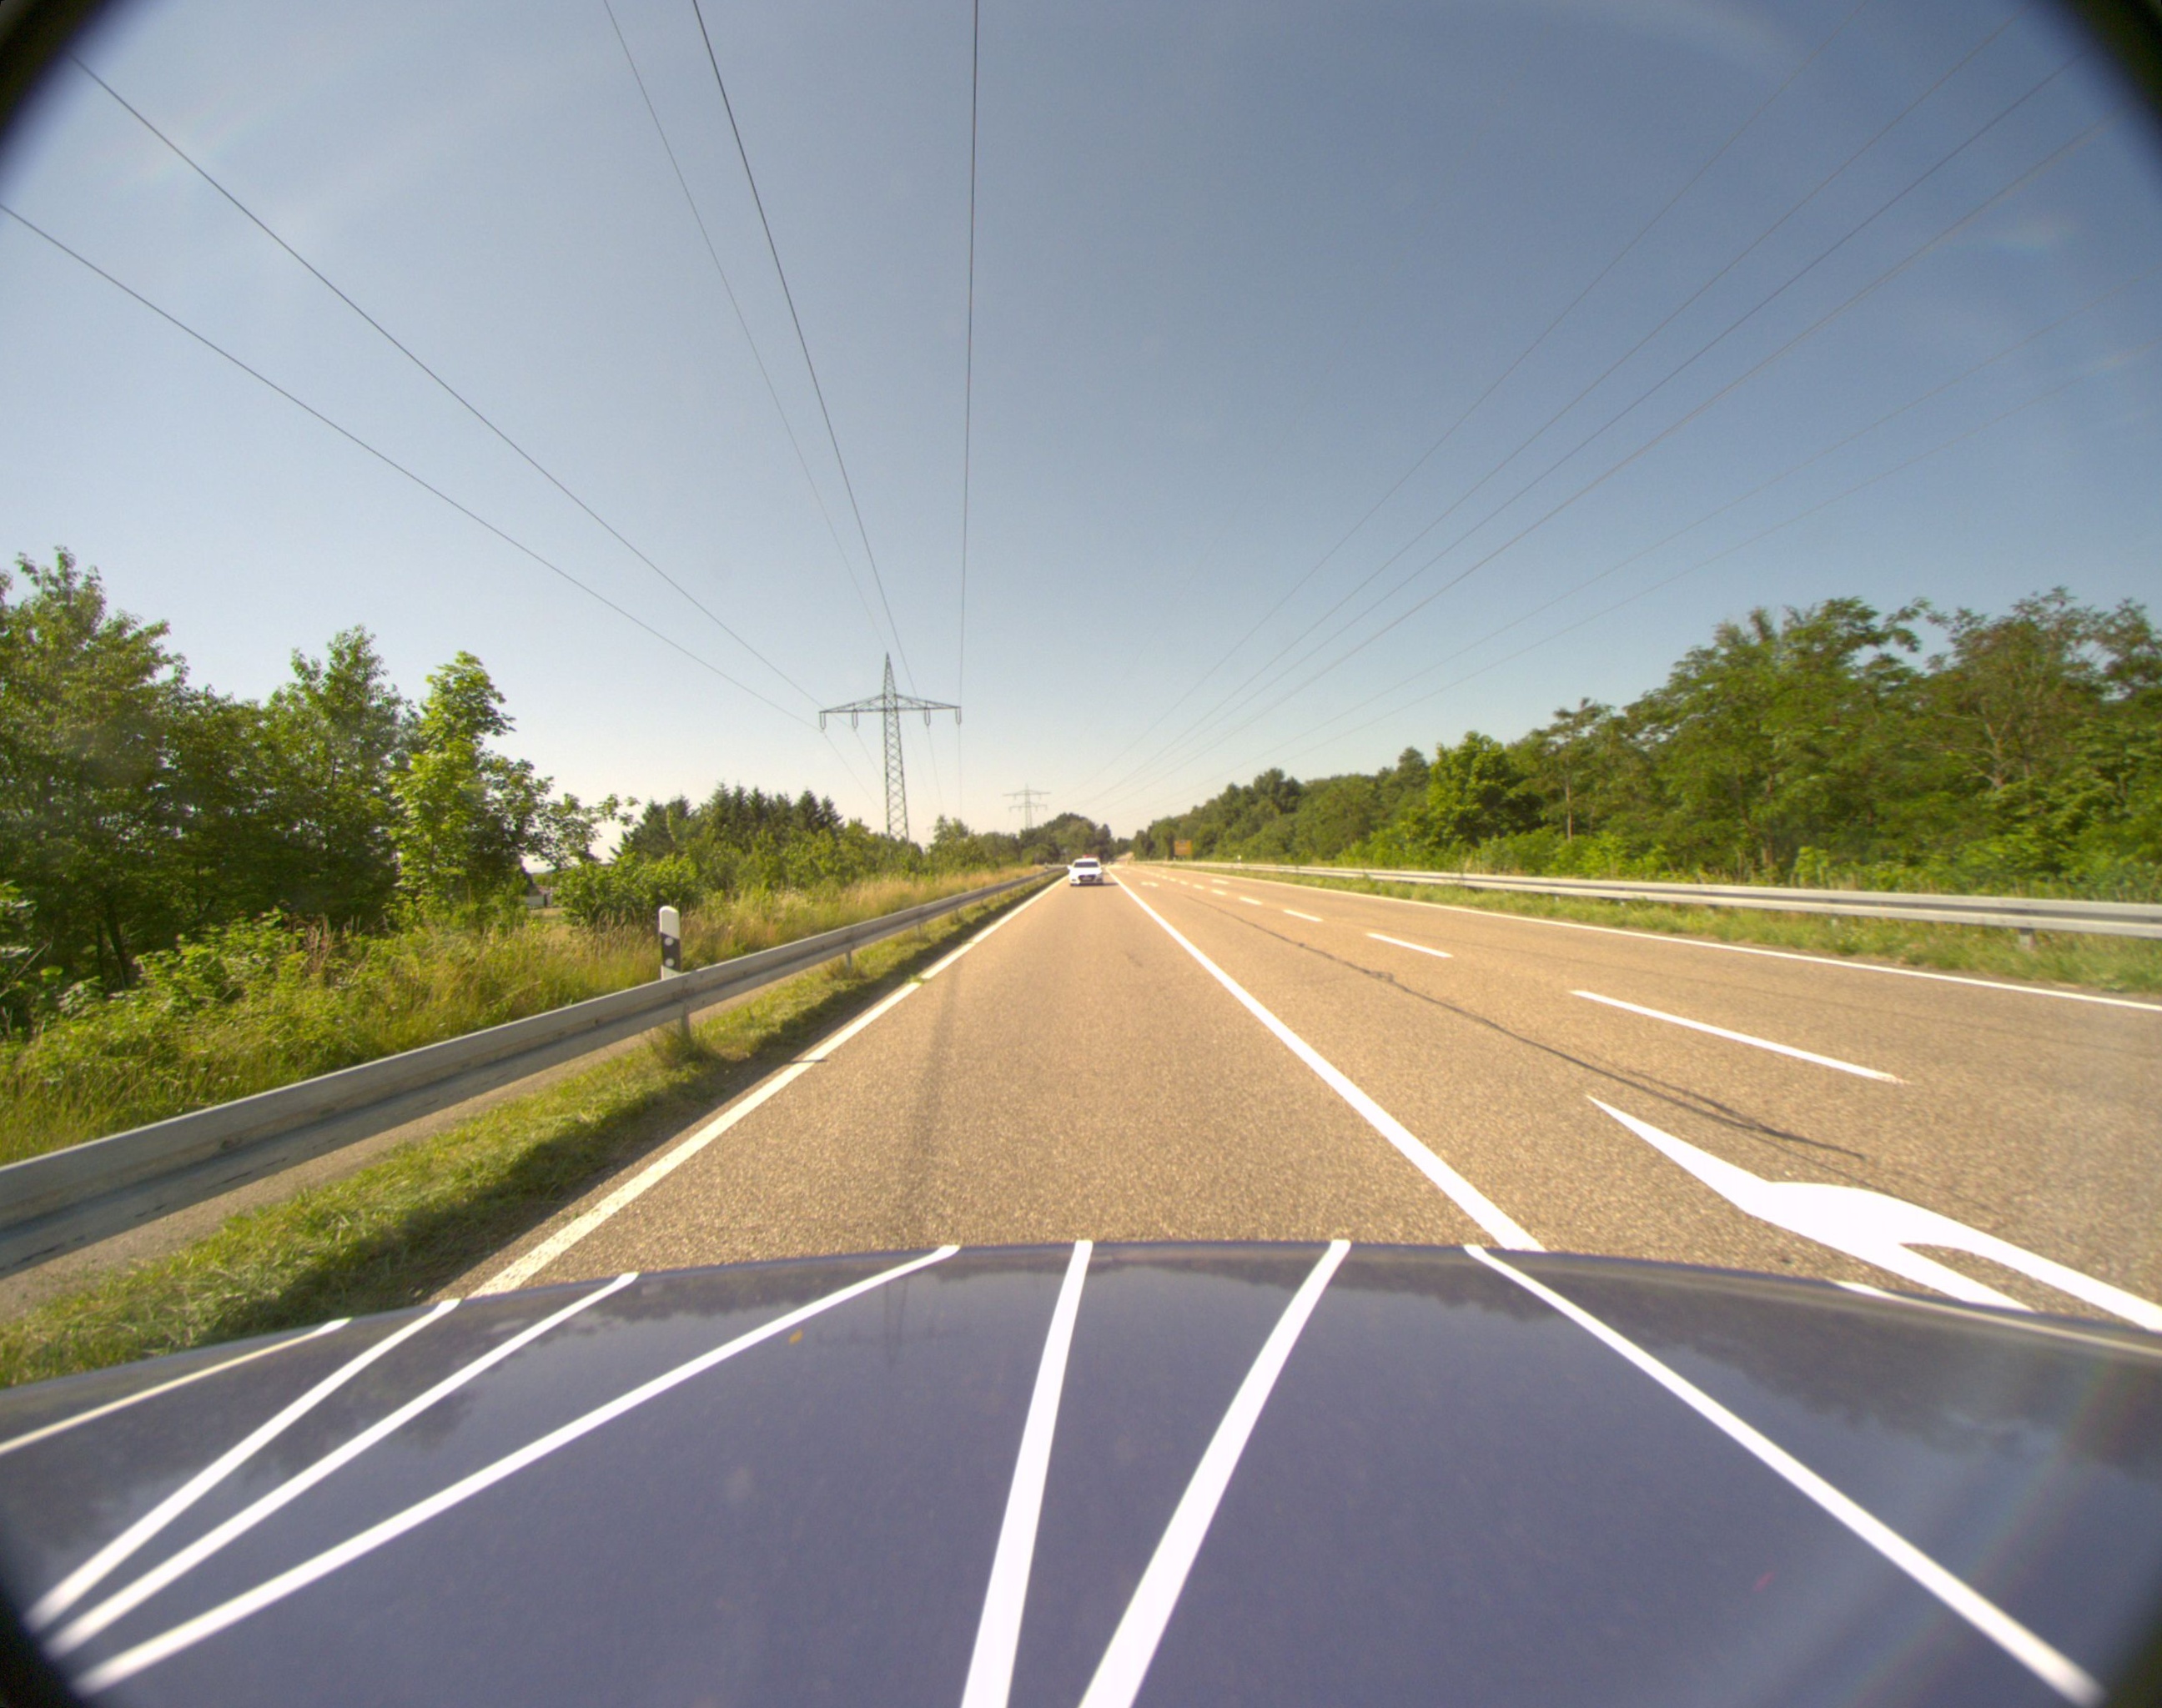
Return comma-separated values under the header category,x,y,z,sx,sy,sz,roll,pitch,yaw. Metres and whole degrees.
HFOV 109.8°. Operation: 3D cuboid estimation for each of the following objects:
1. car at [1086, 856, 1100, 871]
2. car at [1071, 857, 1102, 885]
category,x,y,z,sx,sy,sz,roll,pitch,yaw
car,1.616,1.250,103.233,1.795,1.892,4.838,-2,0,0
car,0.302,0.920,43.399,1.683,1.471,4.473,-1,0,0
